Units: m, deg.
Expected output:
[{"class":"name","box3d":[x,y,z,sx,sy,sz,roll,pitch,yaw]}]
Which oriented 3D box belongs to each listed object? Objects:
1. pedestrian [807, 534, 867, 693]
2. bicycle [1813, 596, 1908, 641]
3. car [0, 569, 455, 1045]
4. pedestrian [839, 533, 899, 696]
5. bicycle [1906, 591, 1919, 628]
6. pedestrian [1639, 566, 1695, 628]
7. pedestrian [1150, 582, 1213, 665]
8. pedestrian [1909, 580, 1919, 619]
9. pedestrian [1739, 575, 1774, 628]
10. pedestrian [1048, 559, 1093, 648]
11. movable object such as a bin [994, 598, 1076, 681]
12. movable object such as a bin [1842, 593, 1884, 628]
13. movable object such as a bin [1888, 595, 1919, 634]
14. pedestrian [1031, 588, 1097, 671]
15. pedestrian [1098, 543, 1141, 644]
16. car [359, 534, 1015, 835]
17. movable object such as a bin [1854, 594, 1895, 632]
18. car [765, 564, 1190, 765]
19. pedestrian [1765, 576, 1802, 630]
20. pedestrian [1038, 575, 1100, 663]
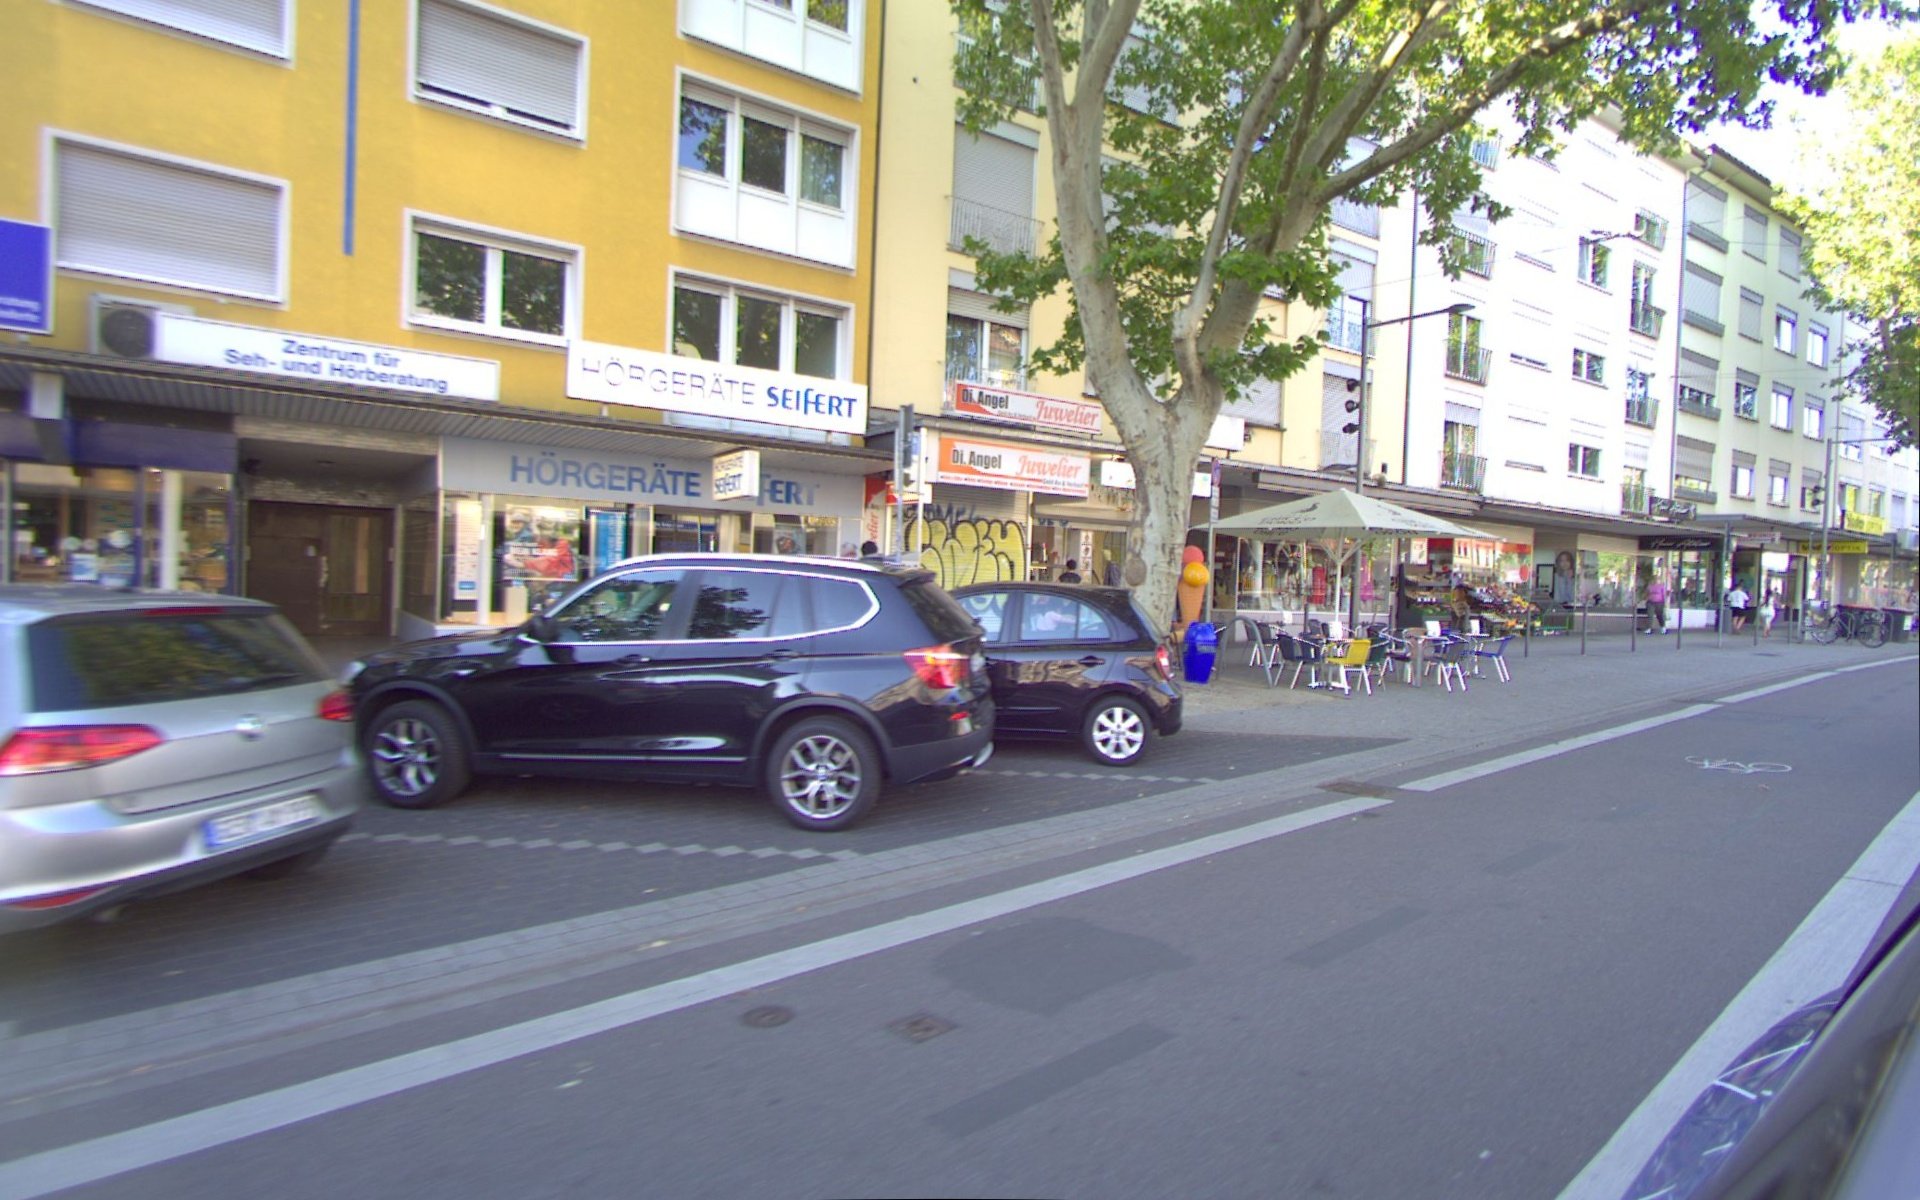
[{"class":"pedestrian","box3d":[-1.474,0.143,12.157,0.512,1.855,0.470,2,1,28]},{"class":"bicycle","box3d":[25.924,0.501,29.178,0.507,1.118,1.918,1,4,-27]},{"class":"car","box3d":[-4.678,0.612,4.546,4.113,1.469,1.804,1,2,12]},{"class":"pedestrian","box3d":[-1.059,0.154,11.815,0.511,1.855,0.471,2,1,23]},{"class":"bicycle","box3d":[31.406,0.334,32.233,0.731,1.130,1.724,-4,4,-33]},{"class":"pedestrian","box3d":[21.311,-0.110,30.529,1.111,1.784,0.972,-1,3,-33]},{"class":"pedestrian","box3d":[3.409,0.344,15.566,0.732,1.240,0.607,0,1,-40]},{"class":"pedestrian","box3d":[38.098,-0.015,40.032,0.878,1.520,0.543,1,3,-33]},{"class":"pedestrian","box3d":[24.875,0.047,31.602,0.615,1.605,0.624,0,4,-35]},{"class":"pedestrian","box3d":[2.020,0.056,18.564,0.624,1.564,0.628,1,5,-10]},{"class":"movable object such as a bin","box3d":[1.002,0.497,13.340,0.917,1.036,0.835,0,0,18]},{"class":"movable object such as a bin","box3d":[29.078,0.339,32.601,0.630,1.085,0.726,1,3,-15]},{"class":"movable object such as a bin","box3d":[29.242,0.433,31.152,0.631,1.115,0.726,0,6,-27]},{"class":"pedestrian","box3d":[1.472,0.404,14.282,0.737,1.129,0.584,0,0,-40]},{"class":"pedestrian","box3d":[2.930,-0.127,18.646,0.614,1.826,0.638,1,1,-5]},{"class":"car","box3d":[-1.742,0.441,7.110,4.083,1.701,1.805,1,2,9]},{"class":"movable object such as a bin","box3d":[28.726,0.392,31.795,0.632,1.084,0.725,0,8,-36]},{"class":"car","box3d":[0.209,0.482,9.289,3.549,1.559,1.738,1,2,9]},{"class":"pedestrian","box3d":[25.369,0.077,31.171,0.615,1.605,0.638,0,4,-35]},{"class":"pedestrian","box3d":[1.640,0.272,15.217,0.745,1.291,0.584,0,0,-40]}]
